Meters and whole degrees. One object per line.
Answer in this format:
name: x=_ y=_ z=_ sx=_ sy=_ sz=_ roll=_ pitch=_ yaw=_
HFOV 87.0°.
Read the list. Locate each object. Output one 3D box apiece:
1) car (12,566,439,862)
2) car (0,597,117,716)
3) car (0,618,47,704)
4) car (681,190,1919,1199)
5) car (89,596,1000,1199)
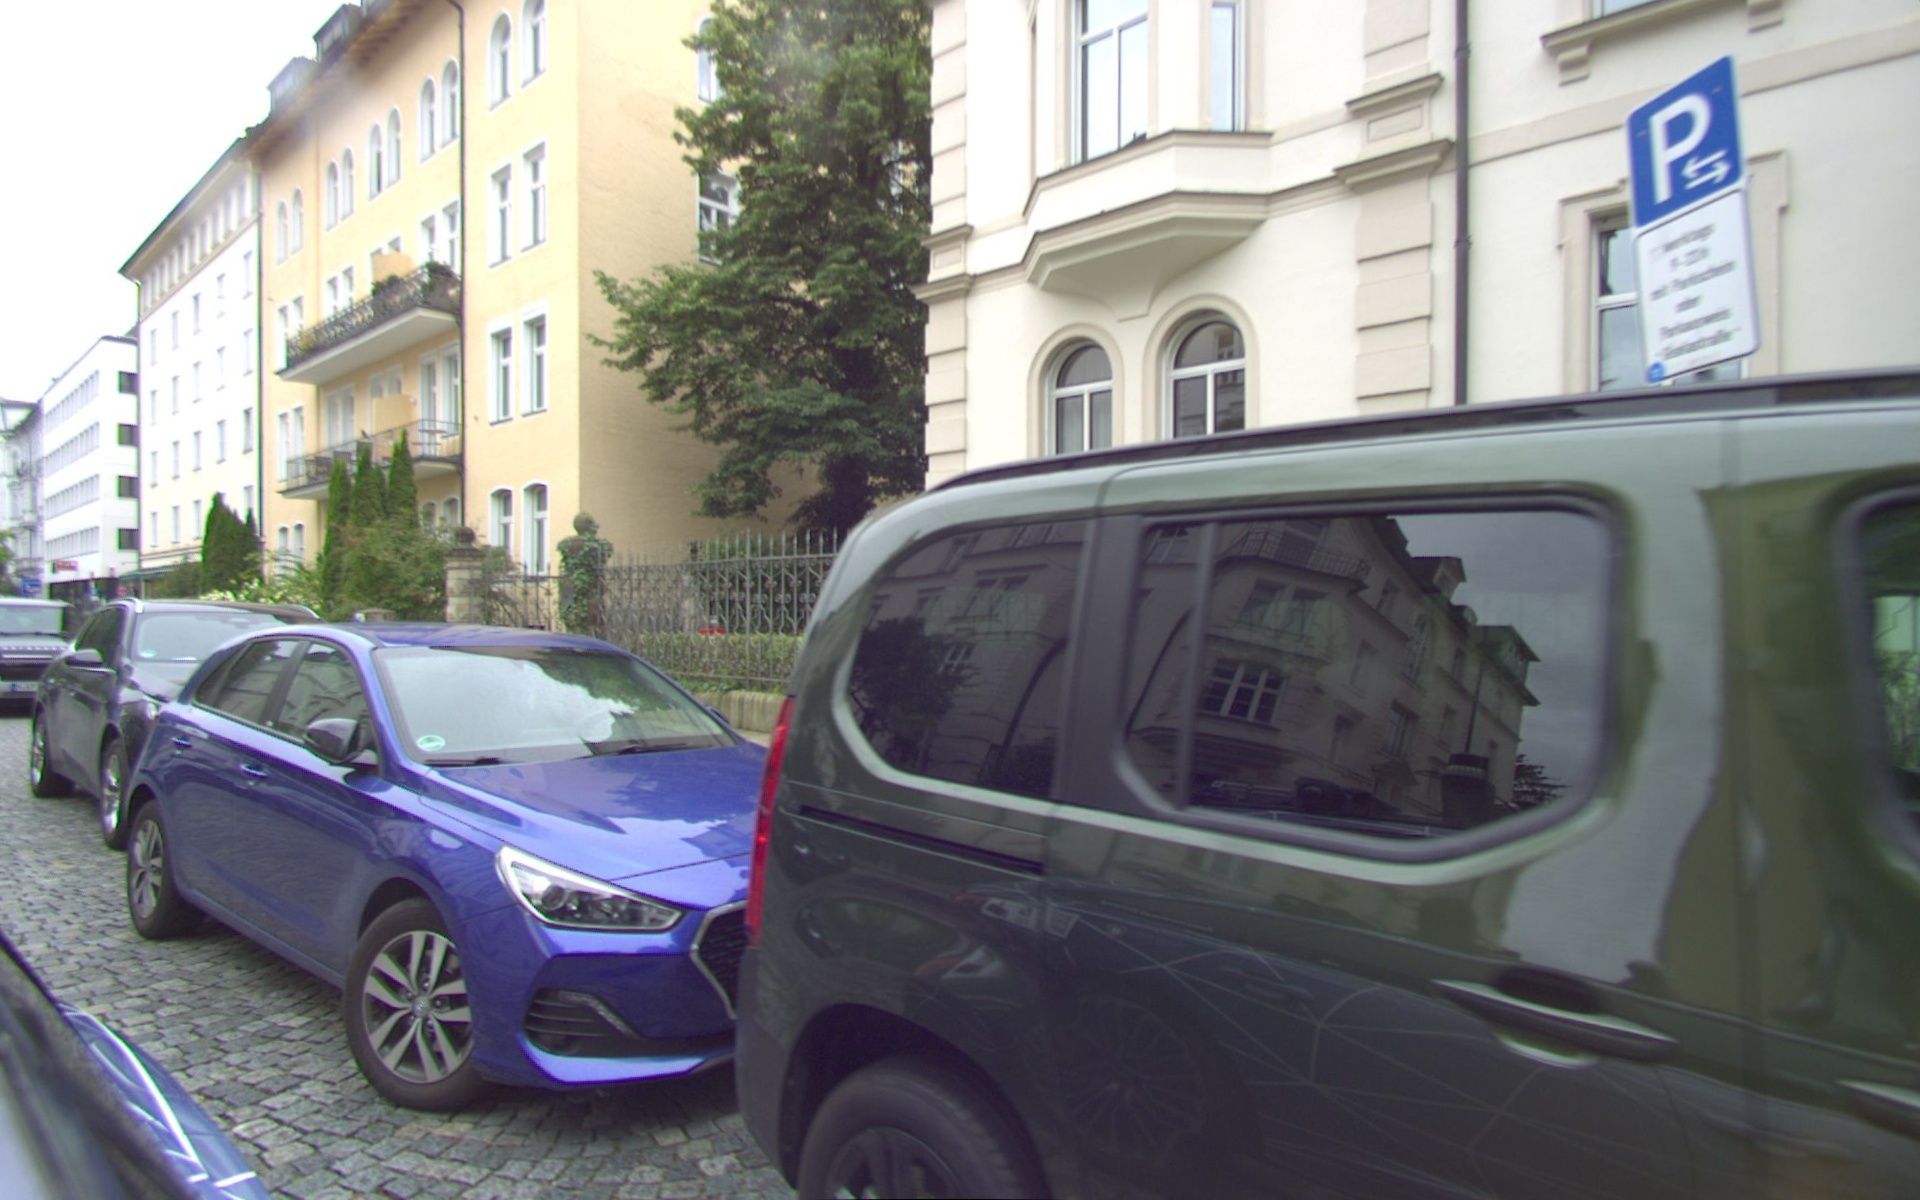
car: x=-5.969 y=0.672 z=8.005 sx=4.388 sy=1.730 sz=1.755 roll=0 pitch=0 yaw=40
car: x=-15.598 y=0.868 z=16.695 sx=4.721 sy=1.751 sz=1.961 roll=-1 pitch=-1 yaw=42
car: x=-19.876 y=1.170 z=20.502 sx=4.054 sy=1.602 sz=1.563 roll=0 pitch=-2 yaw=42
car: x=1.568 y=0.528 z=1.516 sx=4.166 sy=1.764 sz=1.874 roll=-1 pitch=-2 yaw=42
car: x=-2.012 y=0.734 z=4.270 sx=4.055 sy=1.470 sz=1.920 roll=0 pitch=0 yaw=40
